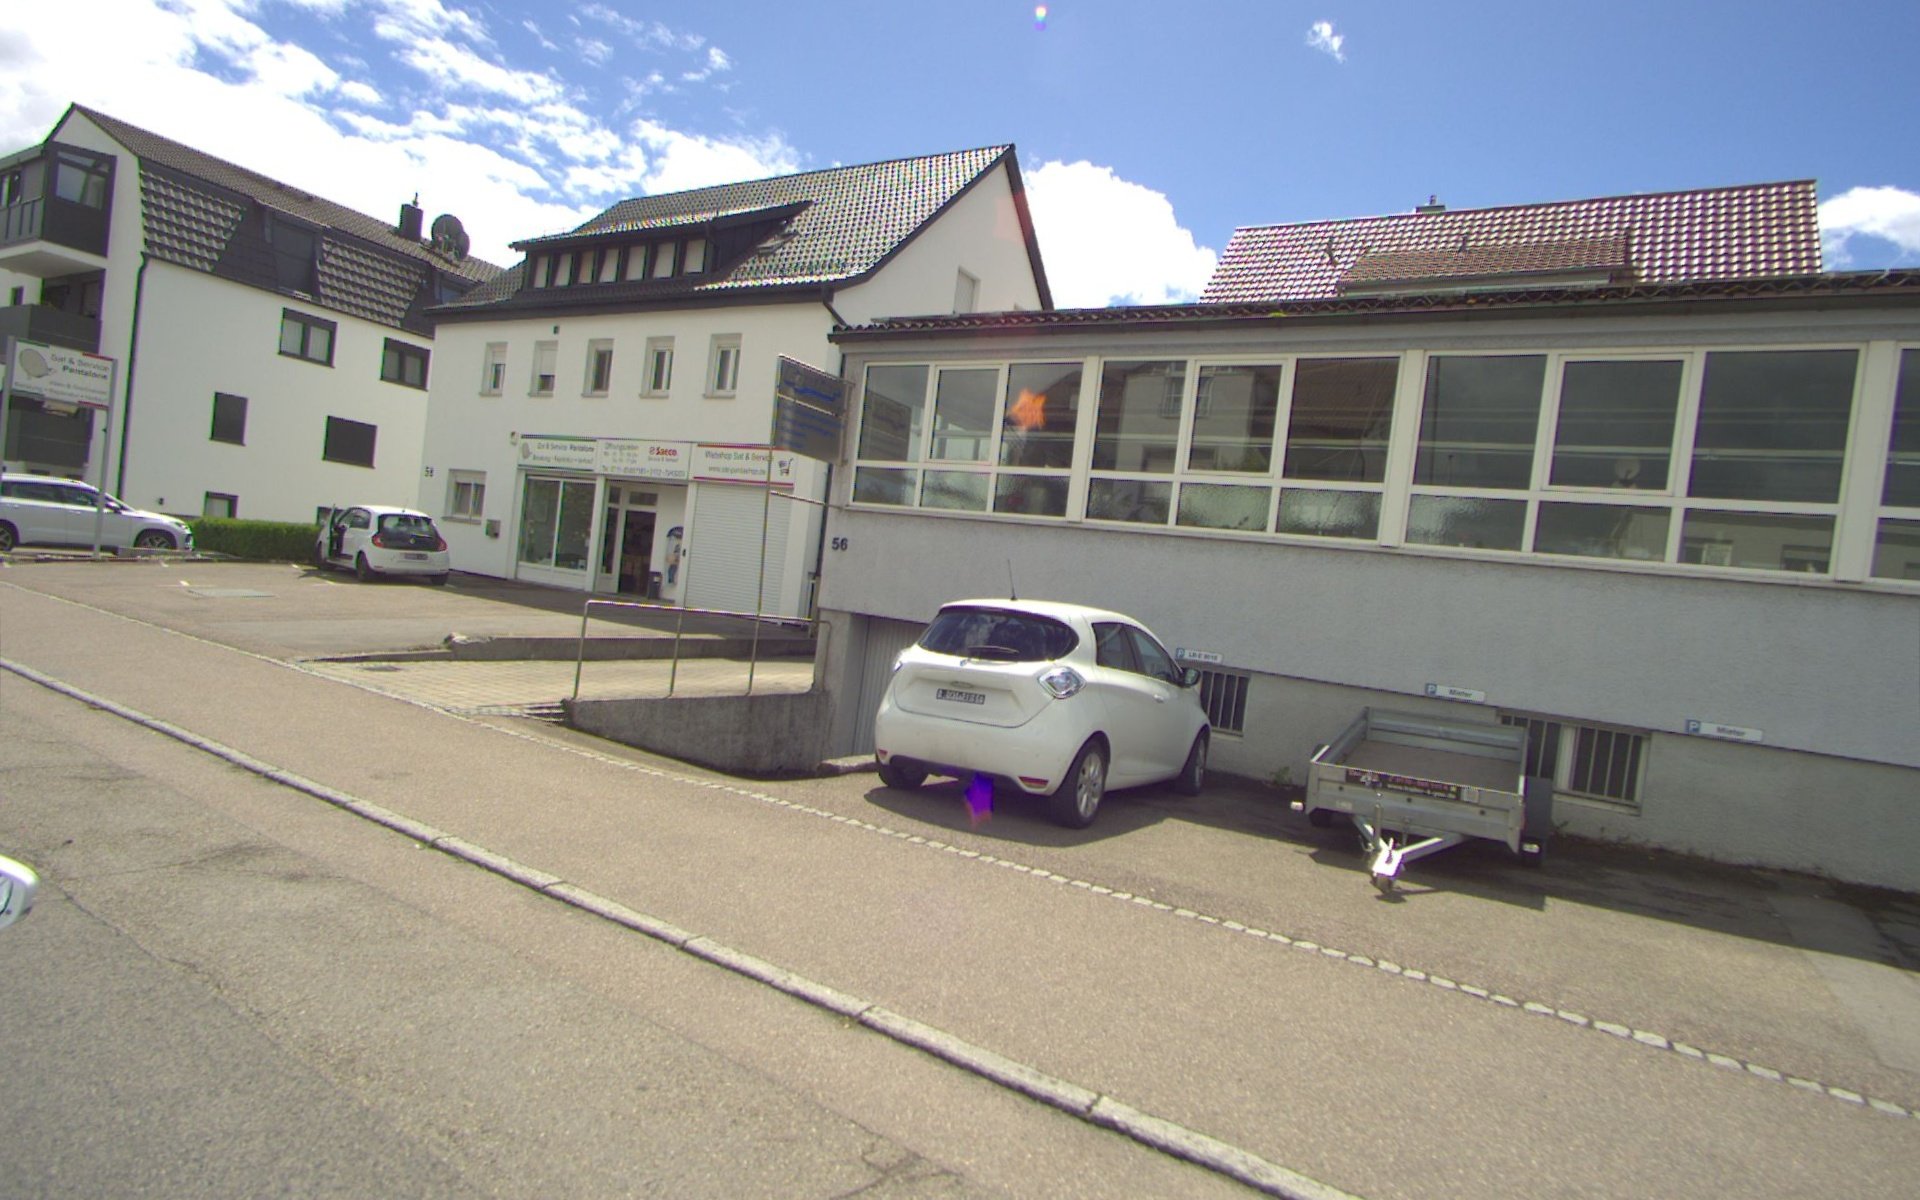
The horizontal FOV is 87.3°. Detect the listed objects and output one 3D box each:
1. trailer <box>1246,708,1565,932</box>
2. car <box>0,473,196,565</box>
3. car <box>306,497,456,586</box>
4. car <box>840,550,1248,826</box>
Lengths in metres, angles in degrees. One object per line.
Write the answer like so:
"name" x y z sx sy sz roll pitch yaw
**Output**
"trailer" 3.495 1.409 7.486 1.629 0.818 3.820 7 0 31
"car" -18.798 -1.710 20.980 1.836 1.677 4.189 7 3 32
"car" -12.498 -1.274 21.637 3.611 1.540 1.627 9 5 40
"car" 0.954 0.715 8.462 1.720 1.627 3.907 7 -2 31
